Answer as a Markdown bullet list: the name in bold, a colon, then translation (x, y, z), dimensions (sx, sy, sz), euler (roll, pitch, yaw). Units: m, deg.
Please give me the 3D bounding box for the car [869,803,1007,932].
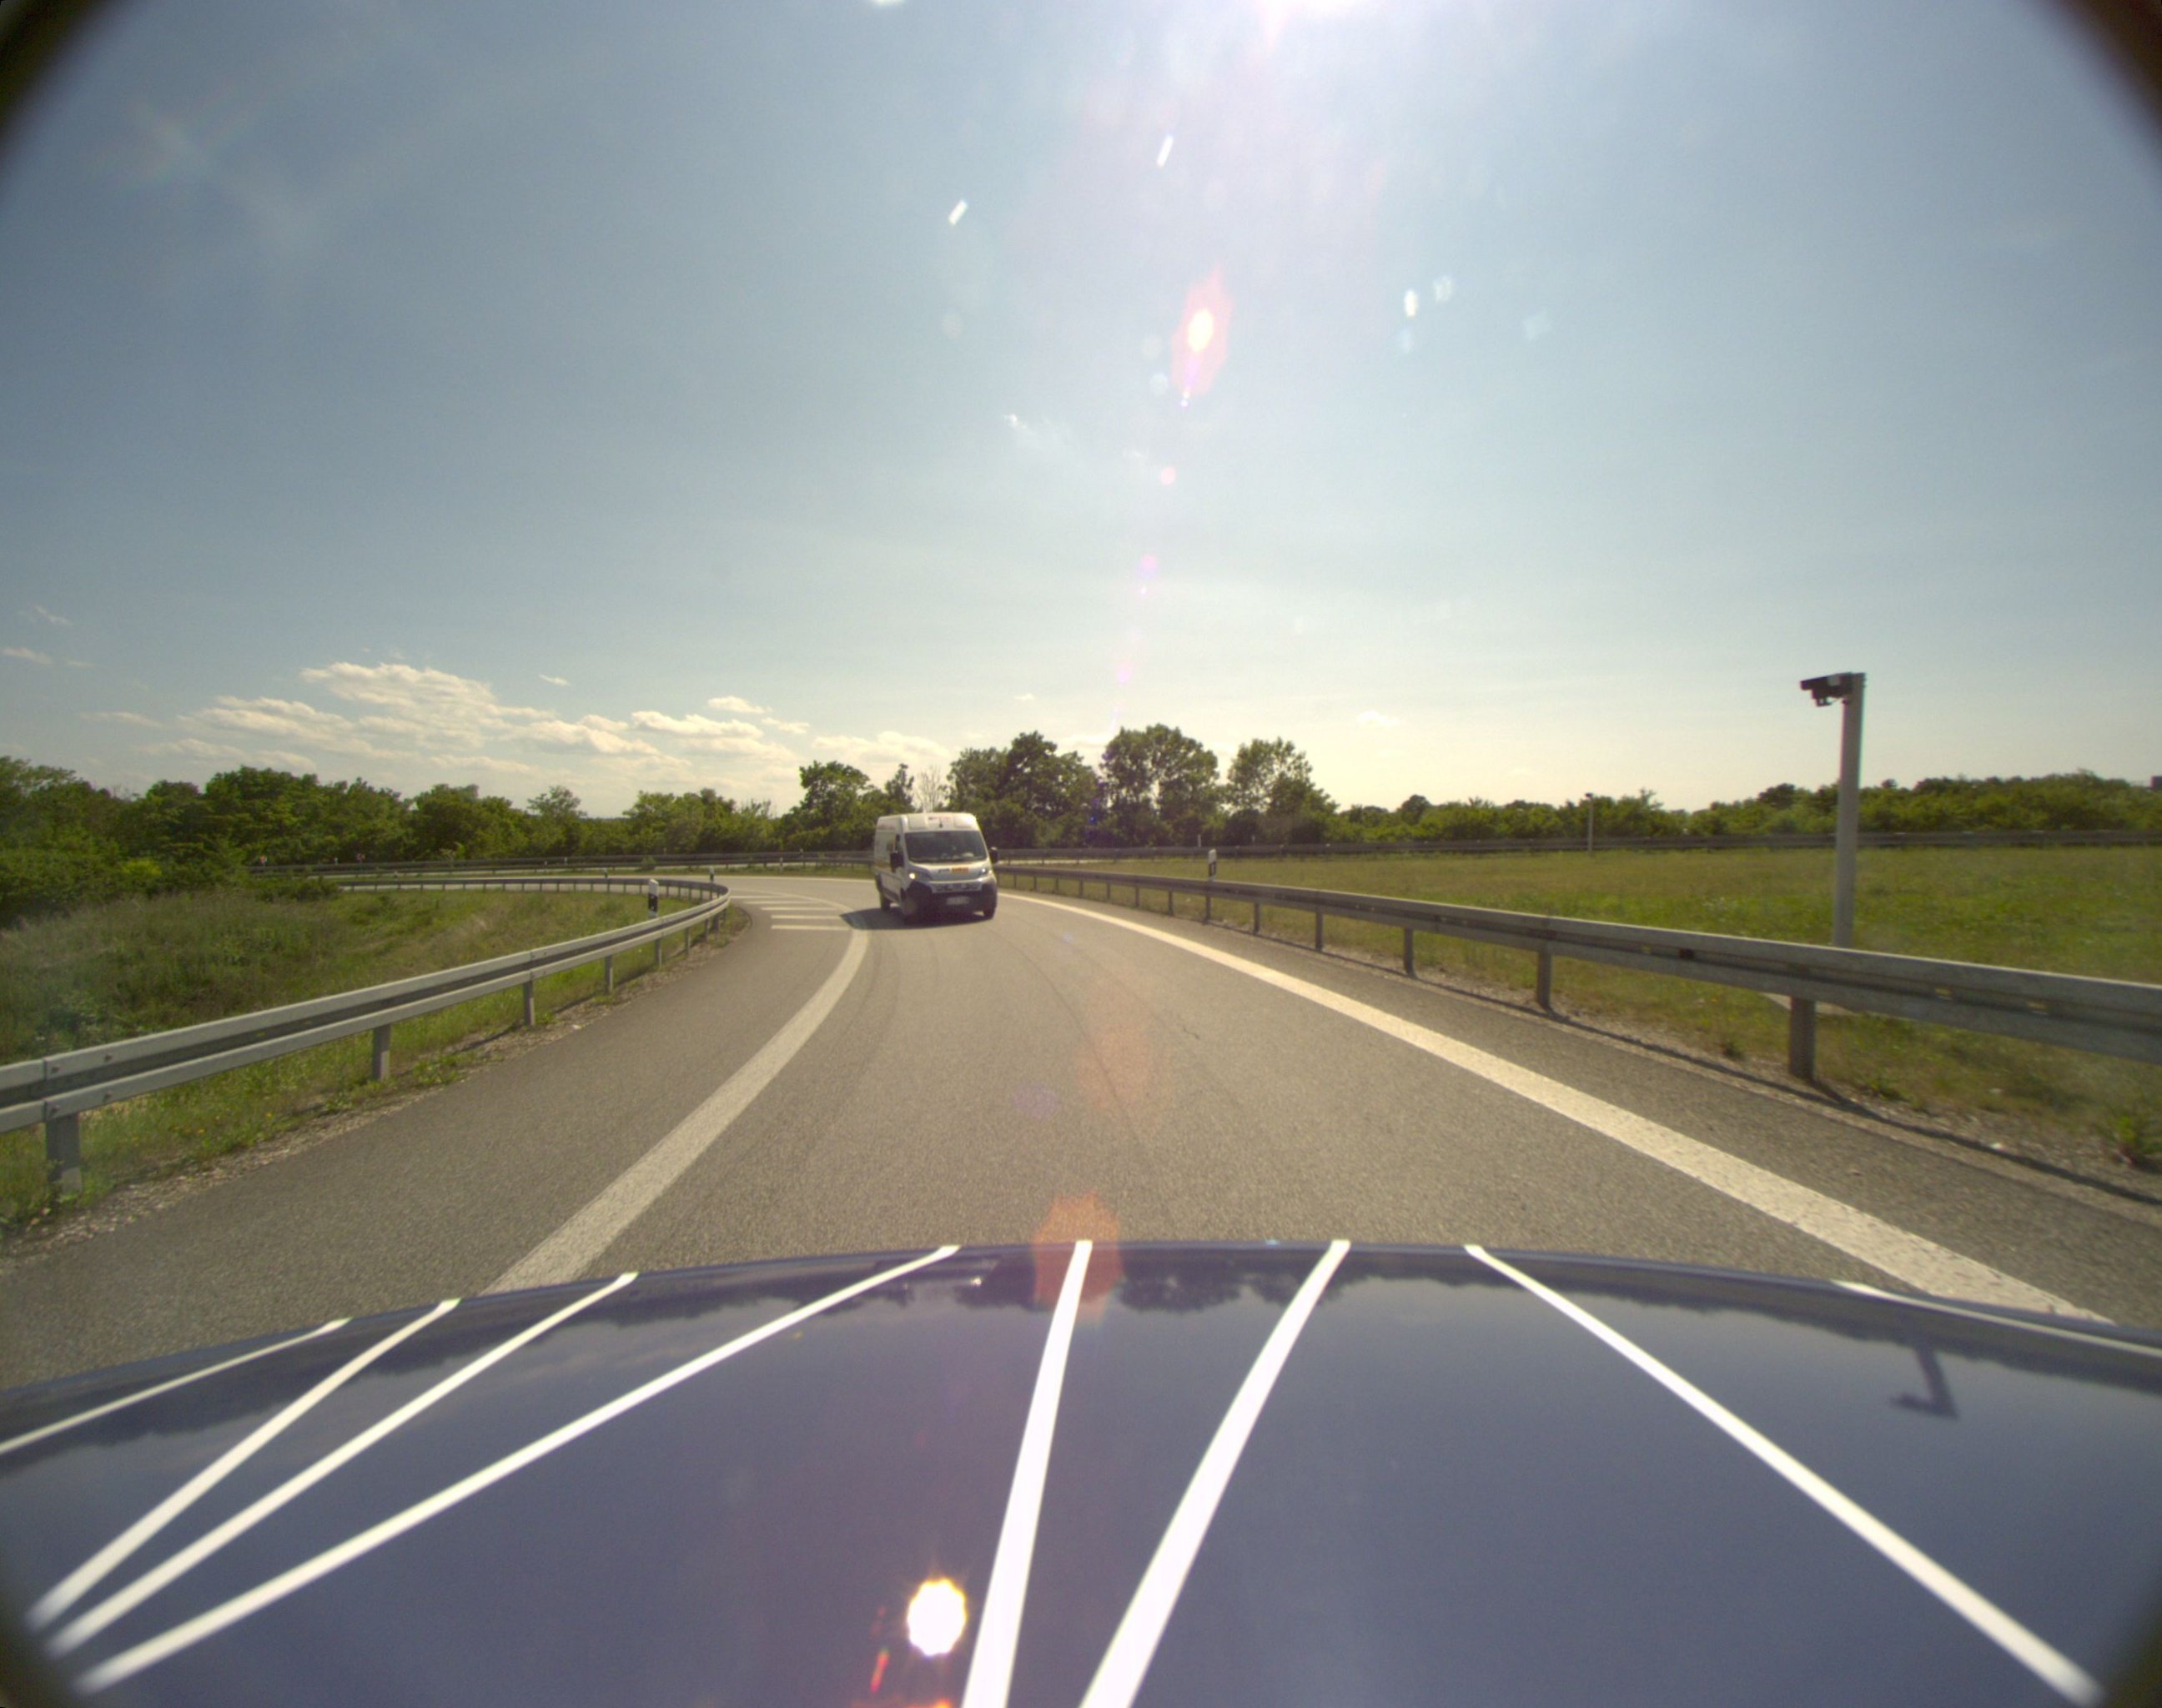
- **car**: translation (-3.777, 0.228, 18.890), dimensions (2.090, 2.510, 6.225), euler (-6, 3, -21)
